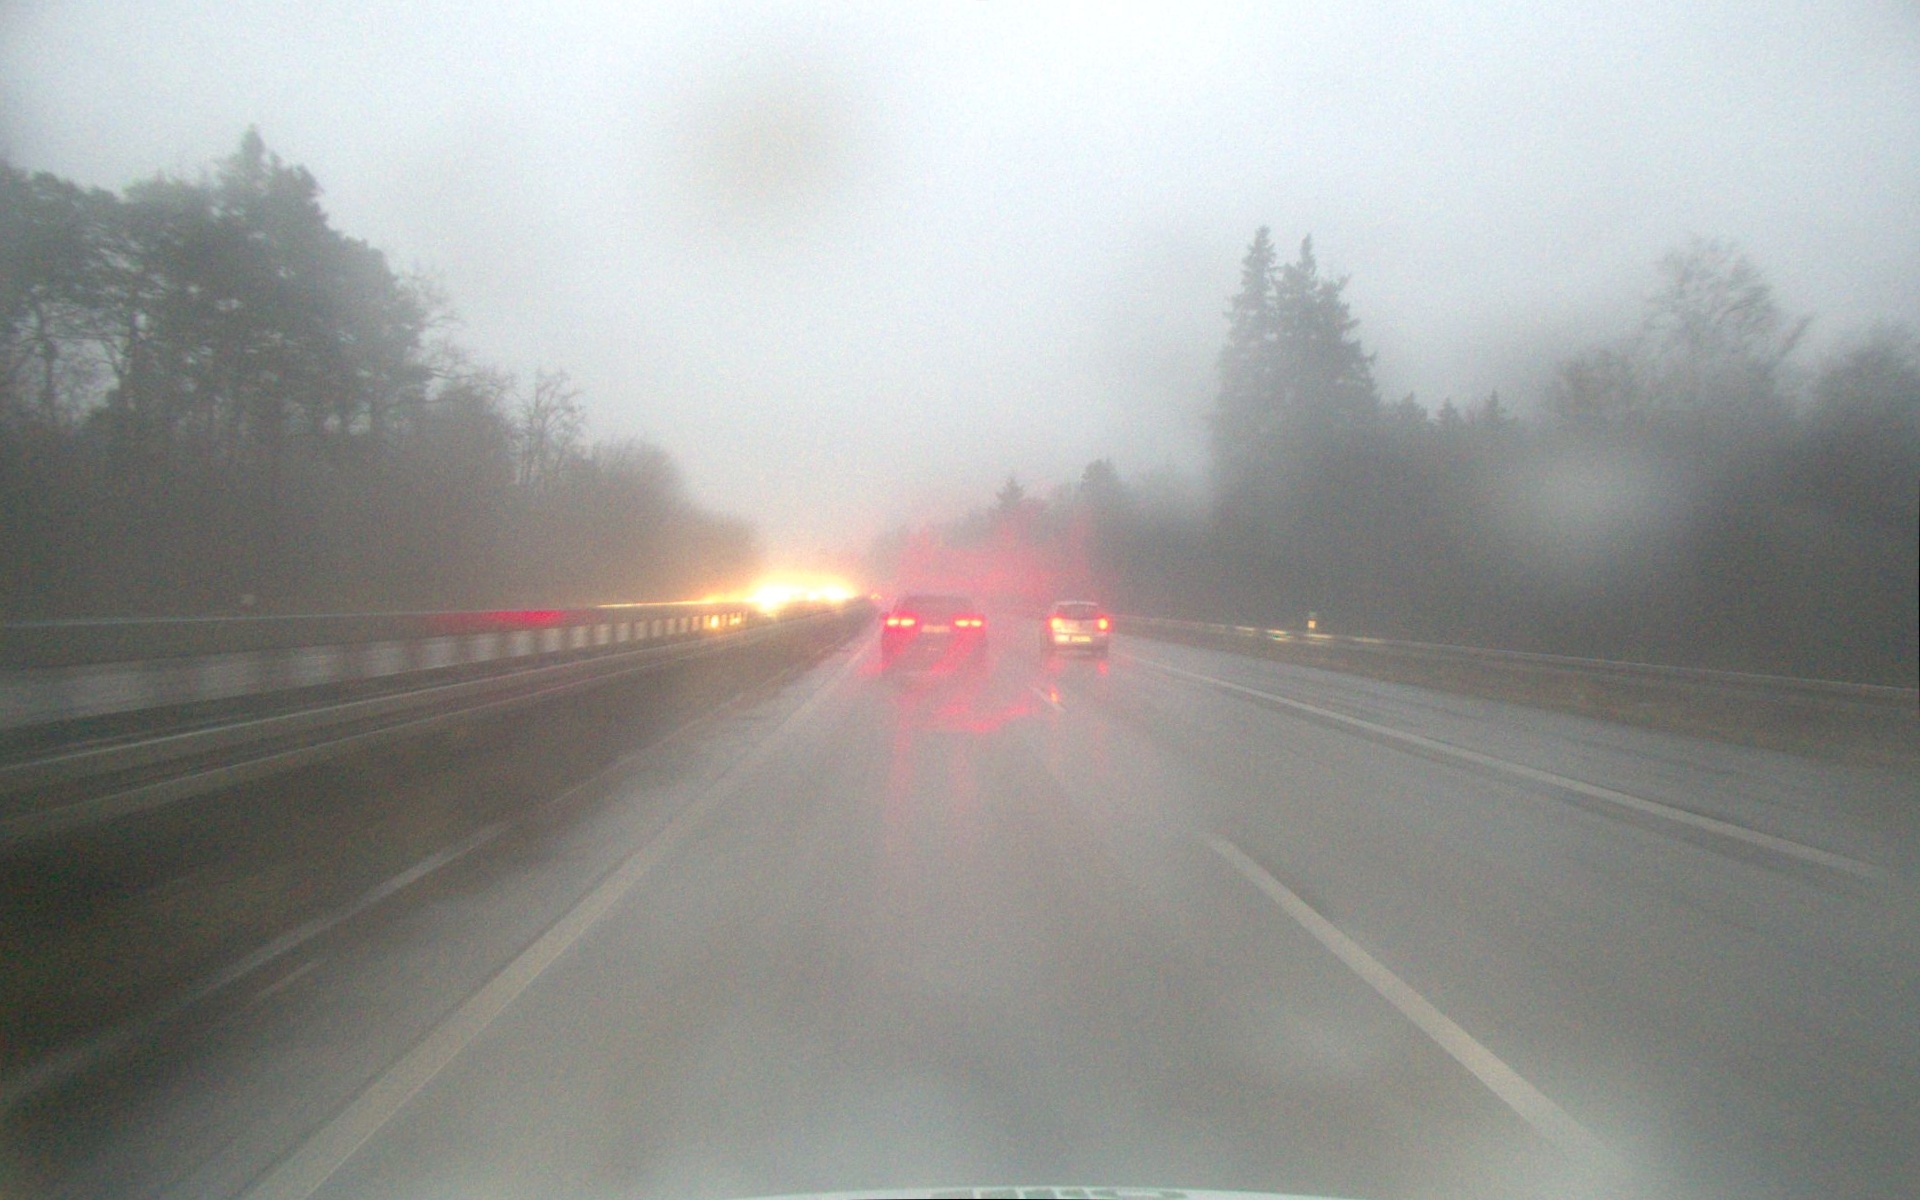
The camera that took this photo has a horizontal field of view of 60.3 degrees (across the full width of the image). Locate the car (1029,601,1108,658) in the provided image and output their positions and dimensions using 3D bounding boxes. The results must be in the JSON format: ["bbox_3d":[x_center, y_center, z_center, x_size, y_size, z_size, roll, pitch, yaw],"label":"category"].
[{"bbox_3d":[2.905,0.777,44.855,1.744,1.462,3.535,1,0,-3],"label":"car"}]

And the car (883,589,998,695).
[{"bbox_3d":[-0.349,0.711,30.276,1.946,1.798,4.173,1,0,0],"label":"car"}]
